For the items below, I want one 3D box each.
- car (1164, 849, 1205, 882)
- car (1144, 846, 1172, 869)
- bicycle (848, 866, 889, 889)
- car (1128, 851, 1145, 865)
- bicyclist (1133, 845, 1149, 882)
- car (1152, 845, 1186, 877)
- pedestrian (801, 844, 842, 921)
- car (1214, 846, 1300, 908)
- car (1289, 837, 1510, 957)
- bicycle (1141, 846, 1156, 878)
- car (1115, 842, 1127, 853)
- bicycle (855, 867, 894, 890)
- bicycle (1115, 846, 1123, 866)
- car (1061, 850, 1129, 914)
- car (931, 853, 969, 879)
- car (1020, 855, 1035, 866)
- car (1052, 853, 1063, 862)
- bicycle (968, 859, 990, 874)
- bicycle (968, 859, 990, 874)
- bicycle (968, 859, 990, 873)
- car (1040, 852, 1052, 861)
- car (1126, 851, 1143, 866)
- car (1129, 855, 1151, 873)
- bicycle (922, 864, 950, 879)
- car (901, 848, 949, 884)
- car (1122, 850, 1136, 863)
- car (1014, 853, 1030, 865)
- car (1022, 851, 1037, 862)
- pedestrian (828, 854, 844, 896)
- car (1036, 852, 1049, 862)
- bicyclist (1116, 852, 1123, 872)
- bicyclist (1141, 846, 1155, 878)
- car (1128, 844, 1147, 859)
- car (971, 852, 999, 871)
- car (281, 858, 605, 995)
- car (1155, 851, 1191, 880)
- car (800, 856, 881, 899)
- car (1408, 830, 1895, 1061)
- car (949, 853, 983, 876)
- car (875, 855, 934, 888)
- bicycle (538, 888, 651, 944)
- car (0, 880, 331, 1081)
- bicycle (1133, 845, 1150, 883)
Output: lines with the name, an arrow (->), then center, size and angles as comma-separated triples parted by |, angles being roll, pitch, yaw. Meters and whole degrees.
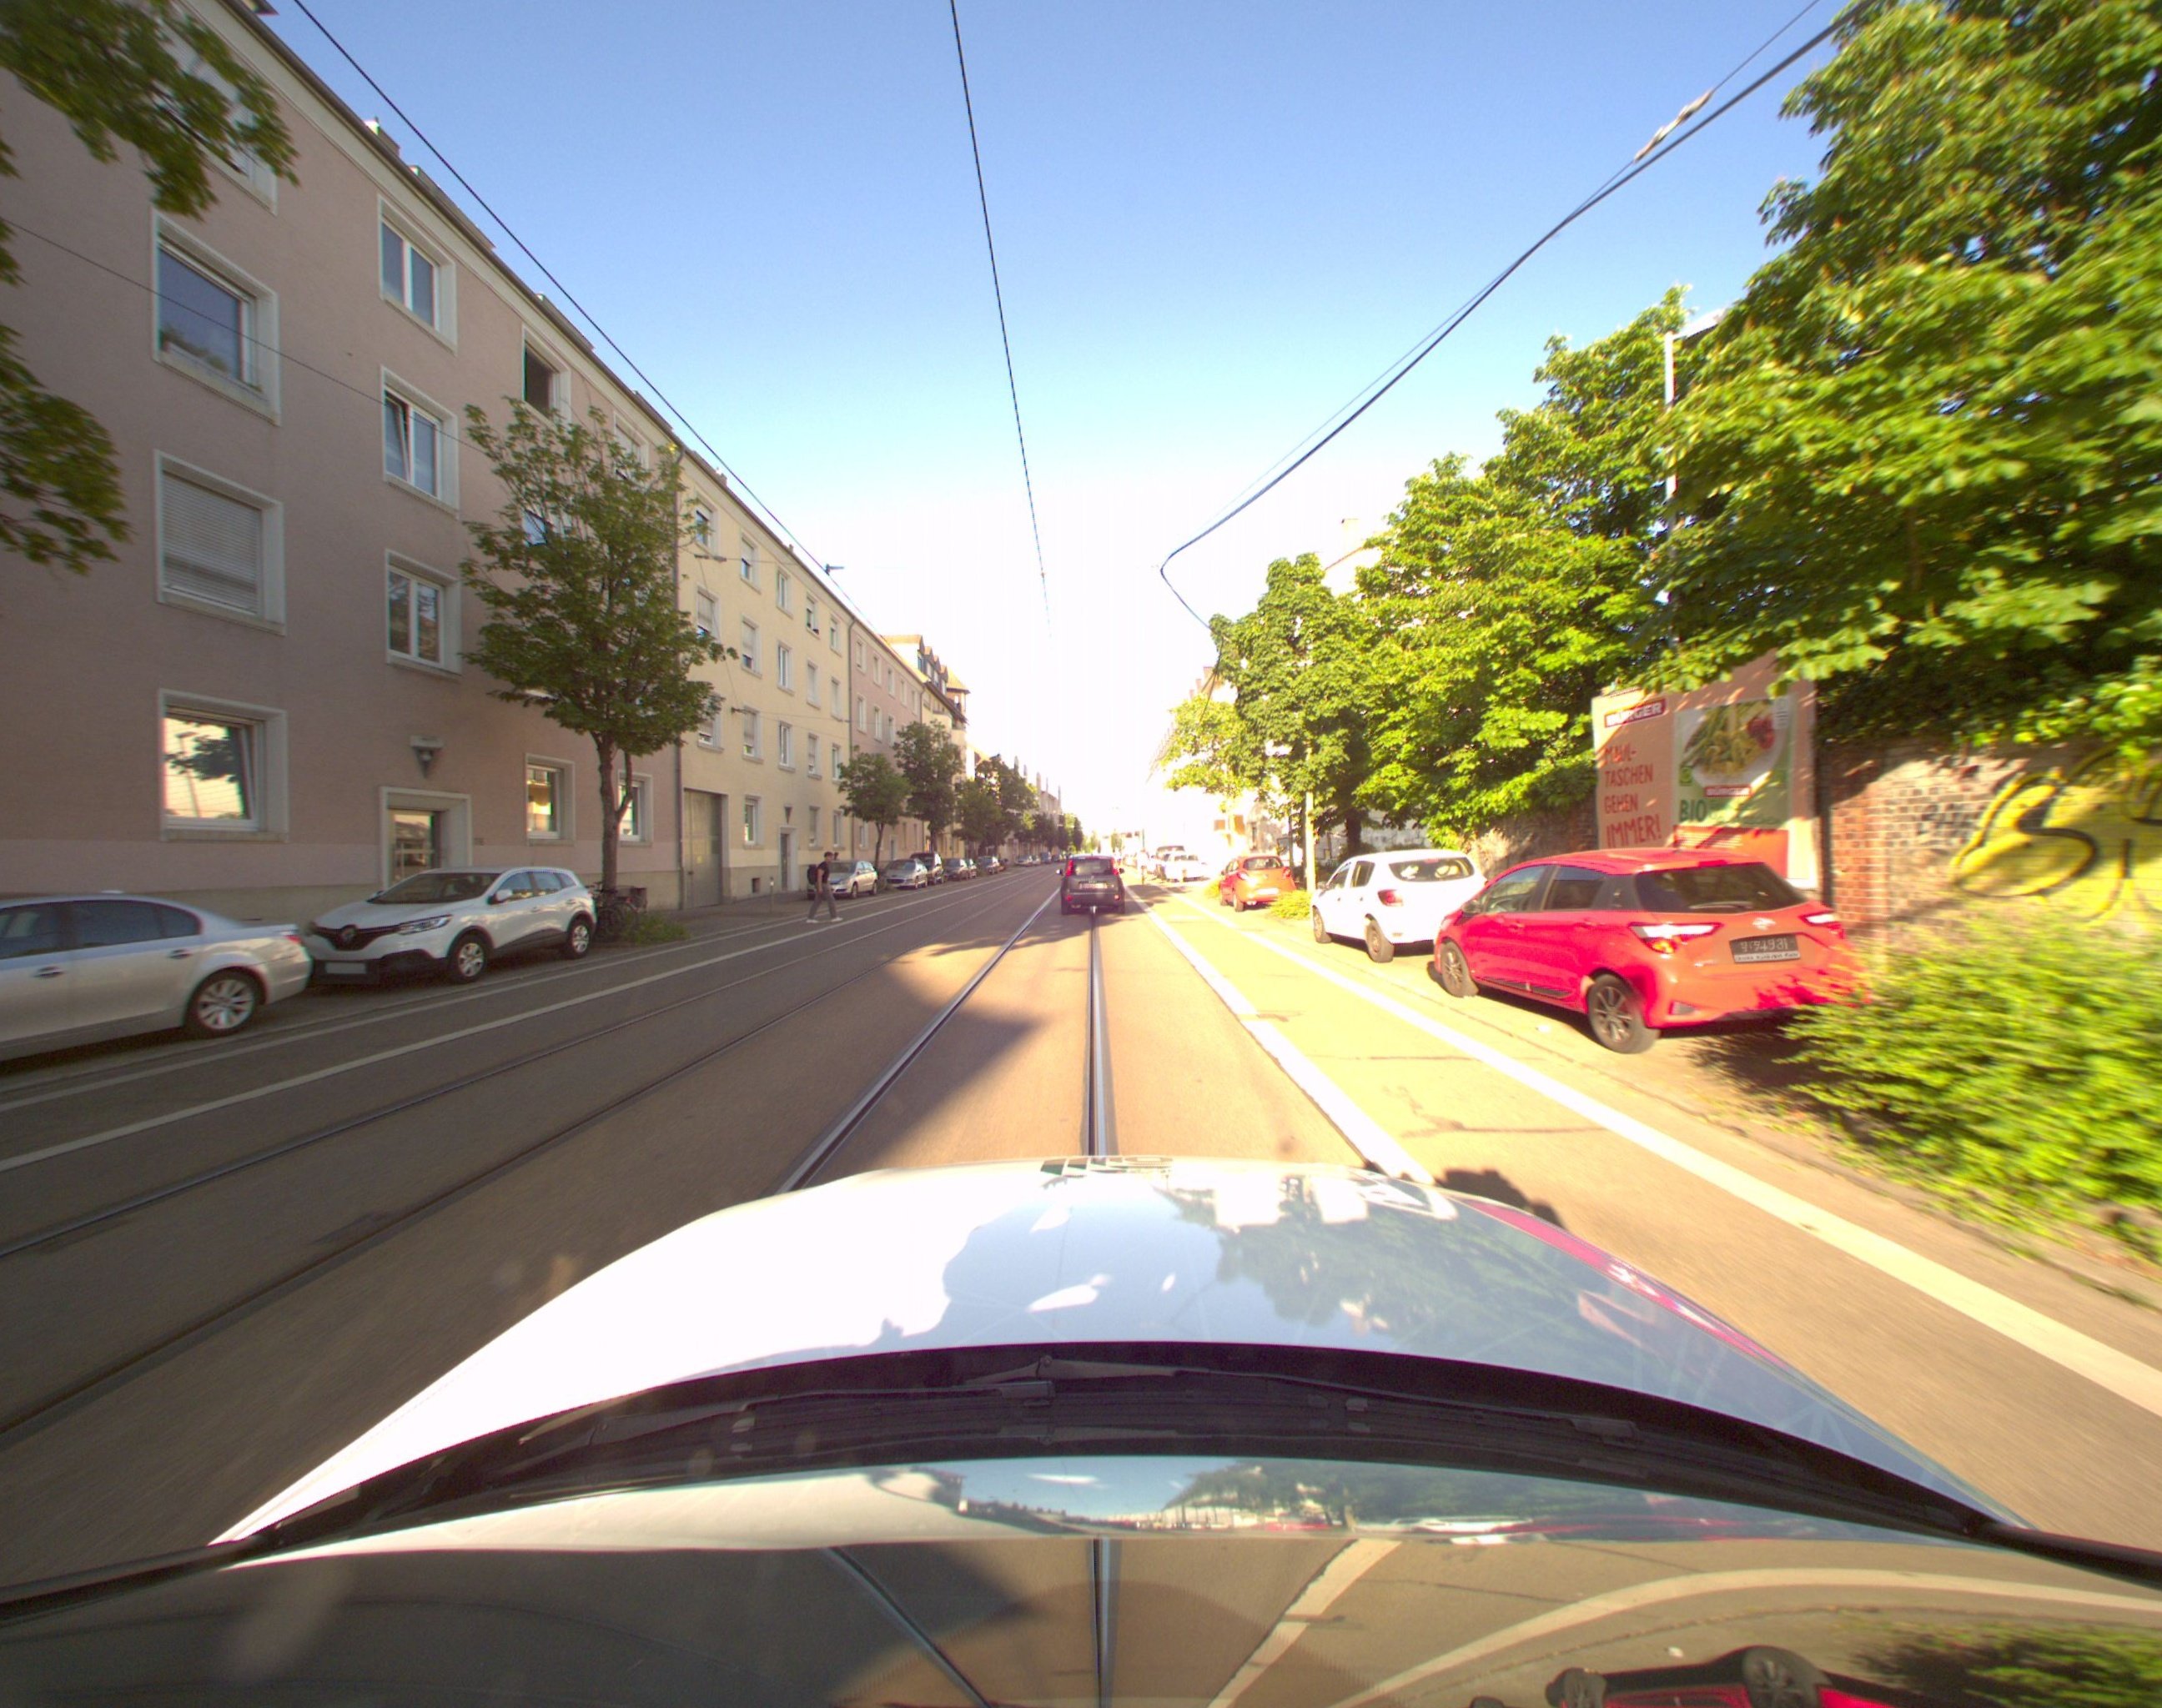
car -> 5.166, 0.564, 40.963 | 1.650, 1.571, 3.499 | 0, 0, 0
car -> 5.312, 0.231, 56.181 | 1.650, 1.500, 3.129 | 0, 0, 0
bicycle -> -9.213, 1.027, 35.357 | 1.659, 1.001, 0.477 | 0, 0, 3
car -> 5.833, 0.435, 85.908 | 1.578, 1.405, 3.376 | 0, 0, 0
bicyclist -> 2.883, 0.471, 39.264 | 0.697, 1.759, 0.757 | 0, 0, 0
car -> 5.452, 0.414, 50.953 | 1.650, 1.944, 4.664 | 0, 0, 0
pedestrian -> -6.291, 0.676, 19.725 | 0.852, 1.776, 0.730 | -2, 1, -19
car -> 4.827, 0.605, 22.782 | 1.630, 1.508, 3.397 | -3, 0, 1
car -> 4.810, 0.585, 12.962 | 1.685, 1.530, 3.994 | -2, 0, -4
bicycle -> 3.777, 0.459, 45.511 | 0.673, 1.747, 2.157 | 0, 0, 0
car -> 5.830, -0.888, 118.384 | 1.578, 1.599, 3.376 | 0, 0, 0
bicycle -> -9.229, 1.094, 36.483 | 1.667, 1.001, 0.475 | 0, 0, -11
bicycle -> 3.937, 0.209, 83.926 | 0.739, 2.013, 2.811 | 0, 0, 0
car -> 0.369, 0.659, 21.771 | 1.644, 1.541, 4.235 | 0, 0, 0
car -> -8.485, 0.770, 53.060 | 1.802, 1.619, 4.064 | 0, 0, 1
car -> -7.396, 0.870, 112.741 | 1.700, 1.496, 3.723 | 0, 0, 2
car -> -4.238, 0.651, 147.499 | 1.700, 1.496, 3.723 | 0, 0, 2
bicycle -> -8.286, 0.997, 65.998 | 1.725, 1.196, 0.372 | 0, 0, -3
bicycle -> -8.241, 0.973, 65.602 | 1.725, 1.196, 0.372 | 0, 0, -3
bicycle -> -8.324, 0.986, 66.412 | 1.725, 1.196, 0.372 | 0, 0, -3
car -> -5.645, 0.359, 131.758 | 1.700, 1.496, 3.723 | 0, 0, 2
car -> 5.914, 0.513, 90.237 | 1.578, 1.599, 3.376 | 0, 0, 0
car -> 5.189, 0.849, 71.846 | 1.578, 1.405, 3.376 | -4, 0, 0
bicycle -> -8.818, 1.056, 49.516 | 1.628, 0.937, 0.516 | 0, 0, -4
car -> -8.671, 0.641, 45.721 | 1.802, 1.943, 4.334 | 0, 0, 1
car -> 5.778, 0.306, 98.268 | 1.578, 1.599, 3.376 | 0, 0, 0
car -> -7.437, 0.670, 103.285 | 1.700, 1.496, 3.723 | 0, 0, 2
car -> -7.429, 0.386, 117.796 | 1.700, 1.496, 3.723 | 0, 0, 2
pedestrian -> -10.747, 0.914, 35.703 | 0.534, 1.826, 0.542 | 0, 0, 0
car -> -5.939, 0.457, 126.136 | 1.700, 1.496, 3.723 | 0, 0, 2
bicyclist -> 3.935, 0.792, 84.027 | 0.713, 2.013, 0.831 | 0, 0, 0
bicyclist -> 3.741, 0.439, 45.546 | 0.697, 1.759, 0.757 | 0, 0, 0
car -> 5.348, -0.266, 77.392 | 1.578, 1.405, 3.376 | 0, 0, 0
car -> -8.096, 0.646, 68.868 | 1.829, 1.556, 3.999 | 0, 0, 0
car -> -9.150, 0.901, 12.241 | 1.648, 1.668, 4.291 | 0, 0, -3
car -> 5.136, 0.607, 45.792 | 1.650, 1.571, 3.876 | 0, 0, 0
car -> -9.080, 0.835, 31.139 | 1.802, 1.508, 4.191 | 0, 0, 1
car -> 4.801, 0.640, 7.697 | 1.684, 1.530, 3.997 | -2, 0, -2
car -> -8.257, 0.742, 58.716 | 1.802, 1.619, 4.064 | 0, 0, 1
car -> -8.591, 0.823, 39.957 | 1.802, 1.508, 4.681 | 0, 0, 1
bicycle -> -9.410, 1.186, 15.783 | 1.917, 1.046, 0.477 | 0, 0, 1
car -> -9.255, 1.033, 6.717 | 1.682, 1.475, 4.662 | 0, 0, 2
bicycle -> 2.901, 0.466, 39.258 | 0.673, 1.747, 2.157 | 0, 0, 0
